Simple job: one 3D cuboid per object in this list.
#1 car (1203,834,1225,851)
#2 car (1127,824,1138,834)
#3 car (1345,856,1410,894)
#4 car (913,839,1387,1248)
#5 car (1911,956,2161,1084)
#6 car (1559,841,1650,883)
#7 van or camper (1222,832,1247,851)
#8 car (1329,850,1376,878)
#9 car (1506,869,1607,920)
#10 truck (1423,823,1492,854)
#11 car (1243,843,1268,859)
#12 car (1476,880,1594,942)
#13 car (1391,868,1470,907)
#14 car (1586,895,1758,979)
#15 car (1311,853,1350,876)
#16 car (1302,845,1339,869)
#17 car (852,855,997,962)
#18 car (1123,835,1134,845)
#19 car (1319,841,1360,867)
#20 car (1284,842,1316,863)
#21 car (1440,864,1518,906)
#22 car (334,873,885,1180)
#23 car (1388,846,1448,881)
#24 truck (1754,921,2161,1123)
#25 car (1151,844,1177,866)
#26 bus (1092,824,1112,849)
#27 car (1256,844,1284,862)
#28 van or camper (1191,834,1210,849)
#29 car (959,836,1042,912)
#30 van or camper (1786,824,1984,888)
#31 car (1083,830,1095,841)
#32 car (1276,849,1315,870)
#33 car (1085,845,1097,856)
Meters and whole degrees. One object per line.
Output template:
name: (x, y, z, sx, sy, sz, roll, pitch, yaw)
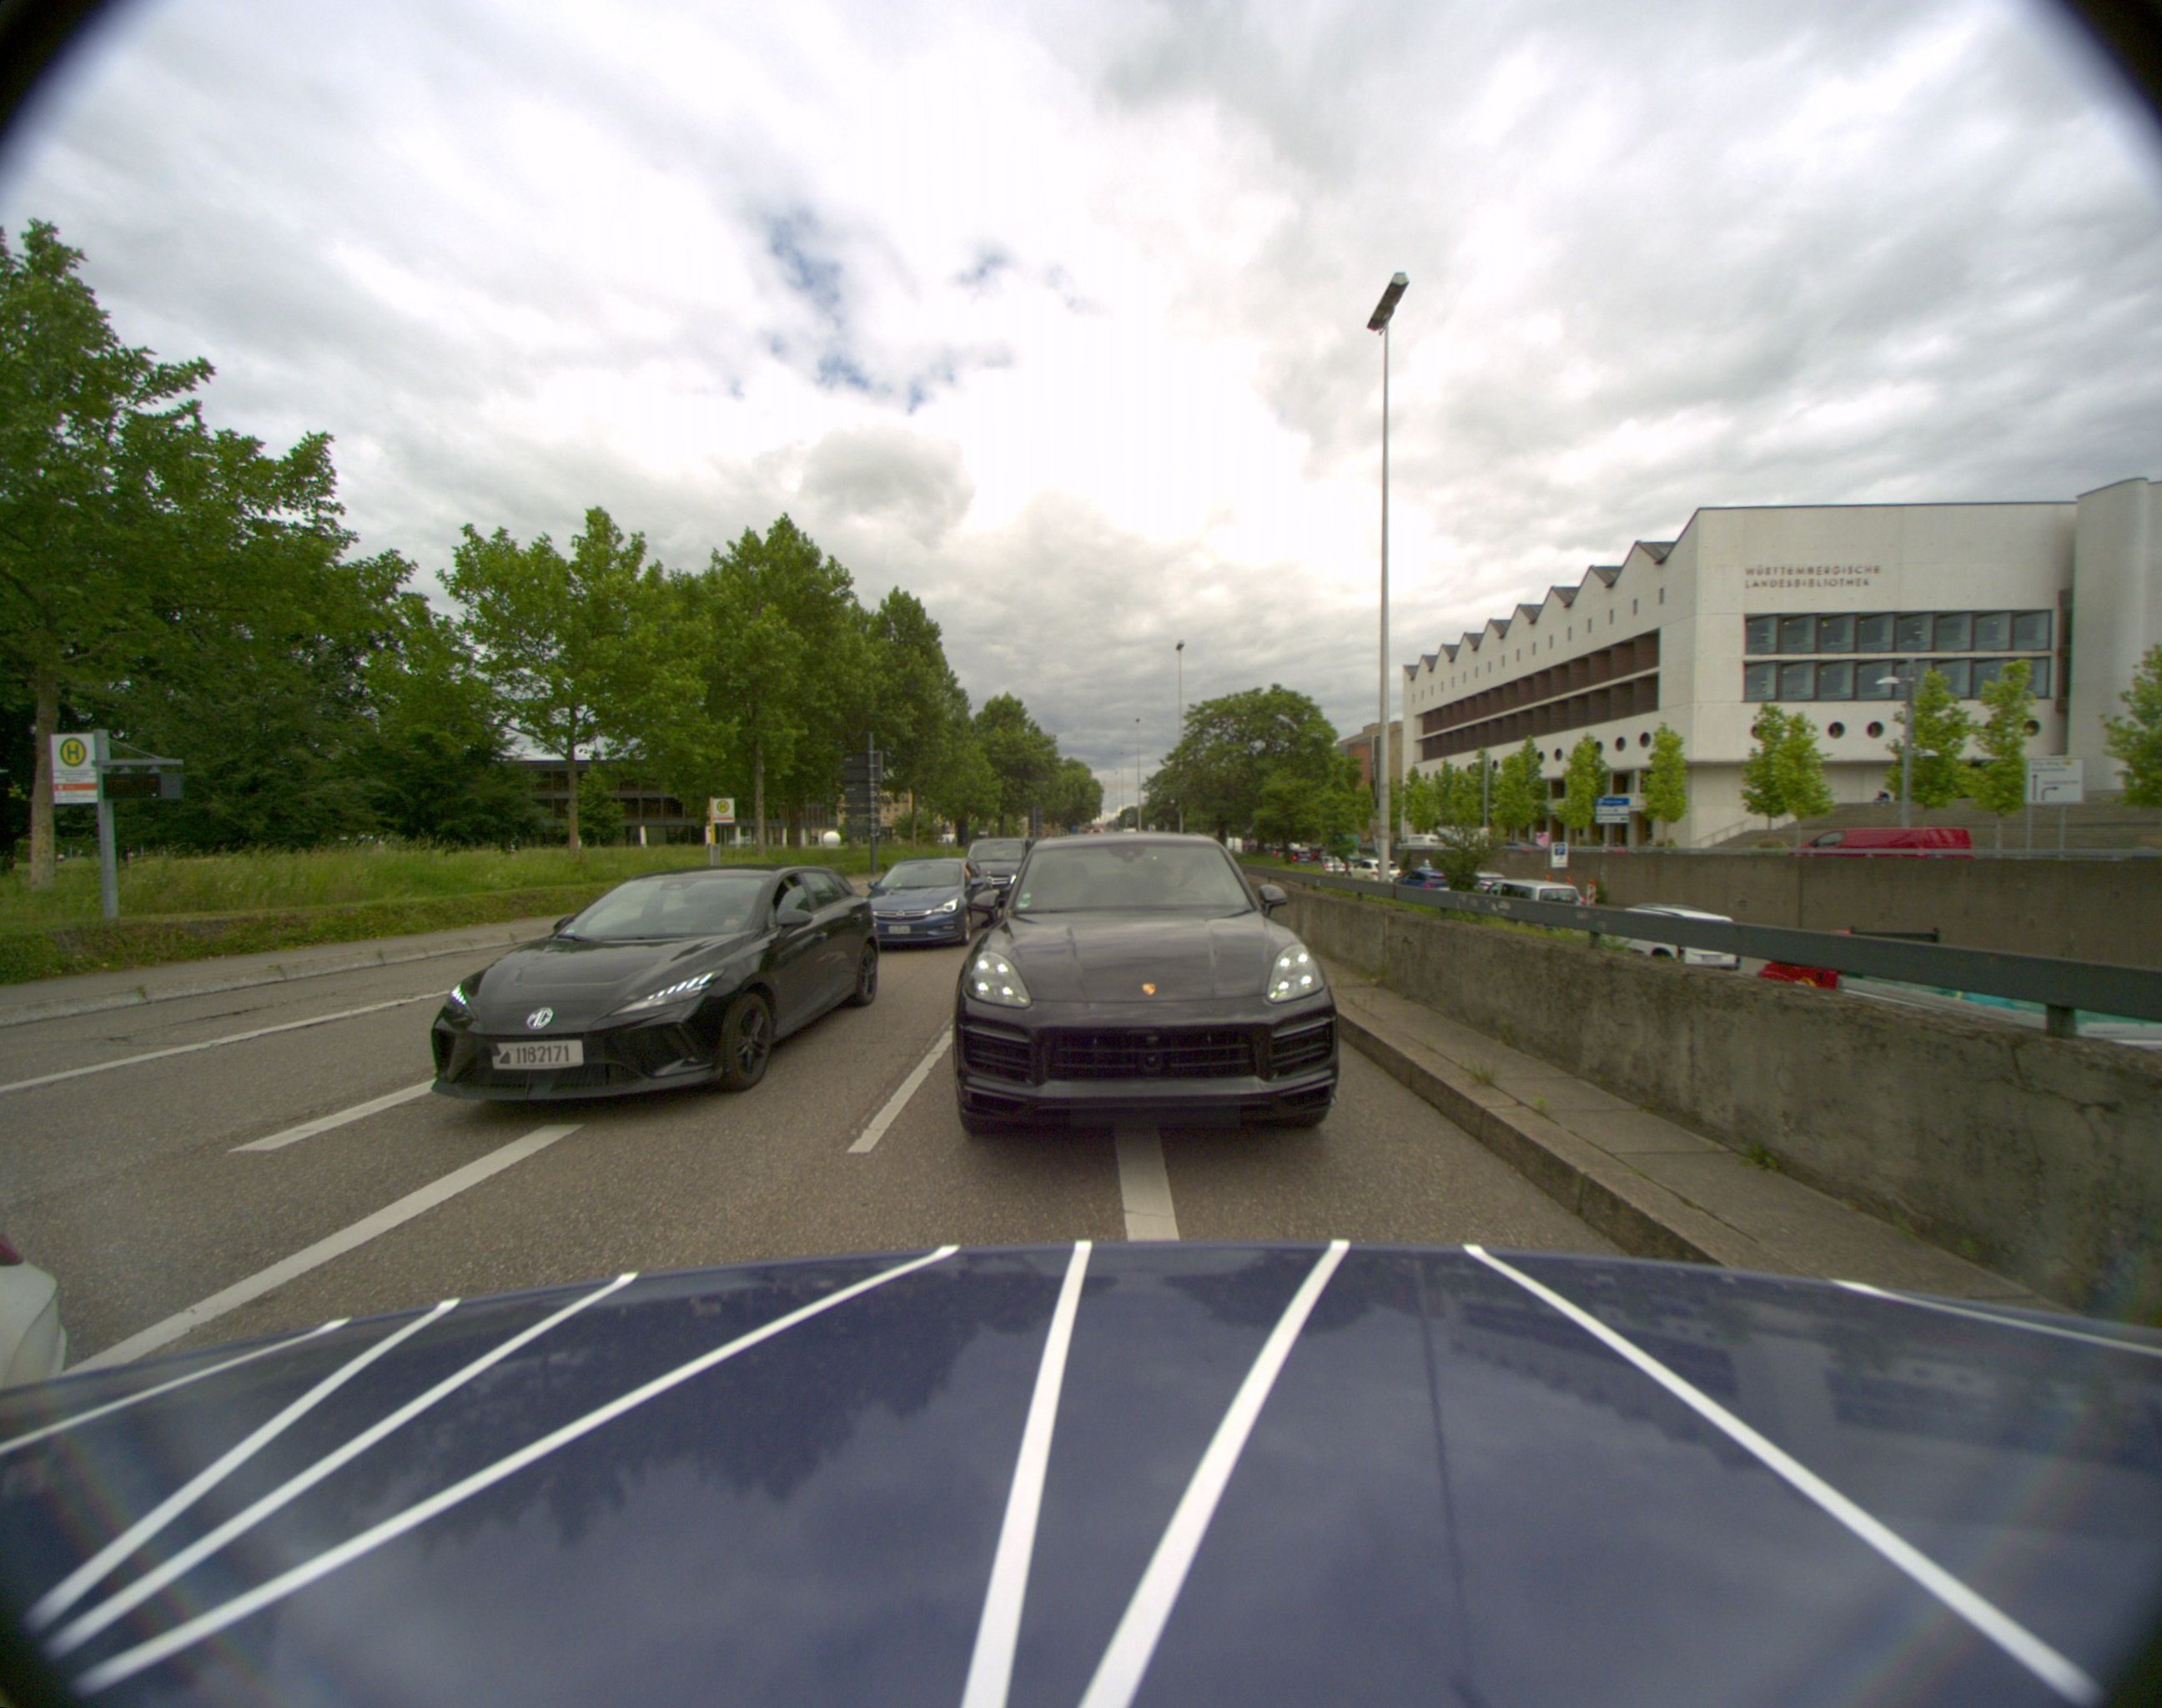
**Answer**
car: (16.896, -1.460, 96.985, 1.998, 2.002, 4.000, -5, 0, 1)
car: (10.920, -5.265, 160.153, 1.997, 2.002, 4.002, -2, 1, 9)
car: (17.657, 1.199, 45.556, 1.998, 2.119, 4.852, 2, 0, 1)
car: (0.319, 0.796, 5.522, 1.937, 1.668, 4.679, -2, 0, 1)
car: (20.208, 3.251, 15.633, 1.999, 1.805, 3.865, 0, 0, -1)
car: (27.411, 0.391, 39.957, 1.999, 2.002, 3.999, -2, 1, -1)
van or camper: (17.233, -1.346, 85.443, 2.036, 2.002, 4.000, -2, 0, 1)
car: (21.006, 0.765, 59.023, 1.998, 2.002, 4.655, -2, 0, 1)
car: (21.328, 1.748, 34.288, 1.998, 2.002, 4.000, 2, 0, 1)
truck: (28.426, -1.130, 57.554, 2.002, 2.145, 5.616, -2, 0, -5)
car: (17.028, -0.335, 74.081, 1.675, 1.477, 3.361, -2, 0, 1)
car: (17.564, 2.135, 29.668, 1.998, 2.002, 4.332, 2, 0, 1)
car: (17.617, 1.646, 38.505, 1.998, 1.733, 4.281, 2, 0, 1)
car: (17.481, 2.390, 22.772, 1.998, 2.002, 4.000, 2, 0, 1)
car: (17.555, 0.723, 53.598, 1.675, 1.477, 3.361, -1, 1, 1)
car: (21.288, 0.233, 67.552, 1.998, 2.002, 4.000, 2, 0, 1)
car: (-2.582, 0.825, 13.454, 1.573, 1.528, 4.001, -2, 1, 2)
car: (9.599, -2.847, 154.468, 1.998, 2.002, 4.000, -1, 0, 1)
car: (21.361, 0.015, 62.888, 1.998, 2.002, 4.000, 2, 0, 1)
car: (21.464, -0.145, 74.625, 1.998, 2.002, 4.000, 2, 0, 1)
car: (21.035, 1.612, 40.375, 1.998, 2.002, 4.000, 2, 0, 1)
car: (-3.097, 0.996, 6.193, 1.829, 1.515, 4.119, -2, 0, 1)
car: (21.029, 0.571, 47.578, 1.998, 2.002, 4.000, 2, 0, 1)
truck: (17.291, 2.980, 15.245, 2.324, 2.675, 5.979, -2, 0, 1)
car: (8.065, 0.056, 74.114, 1.998, 2.002, 4.000, -2, 0, 1)
bus: (3.672, -3.023, 133.615, 3.043, 4.328, 8.748, -1, 1, 0)
car: (16.733, -0.071, 67.426, 1.675, 1.477, 3.361, -2, 0, 1)
van or camper: (17.003, -1.790, 108.004, 2.036, 2.002, 4.000, -2, 0, 1)
car: (-2.115, 0.476, 21.196, 1.723, 1.851, 4.430, -2, 1, 1)
van or camper: (27.806, 0.081, 26.545, 1.999, 2.002, 4.556, -1, 0, -2)
car: (1.624, -3.664, 152.358, 1.997, 2.002, 4.003, -2, 0, 9)
car: (17.264, 0.433, 61.326, 1.998, 1.650, 4.000, -1, 0, 1)
car: (1.388, -0.530, 104.259, 1.565, 1.409, 3.619, -2, 0, 1)
